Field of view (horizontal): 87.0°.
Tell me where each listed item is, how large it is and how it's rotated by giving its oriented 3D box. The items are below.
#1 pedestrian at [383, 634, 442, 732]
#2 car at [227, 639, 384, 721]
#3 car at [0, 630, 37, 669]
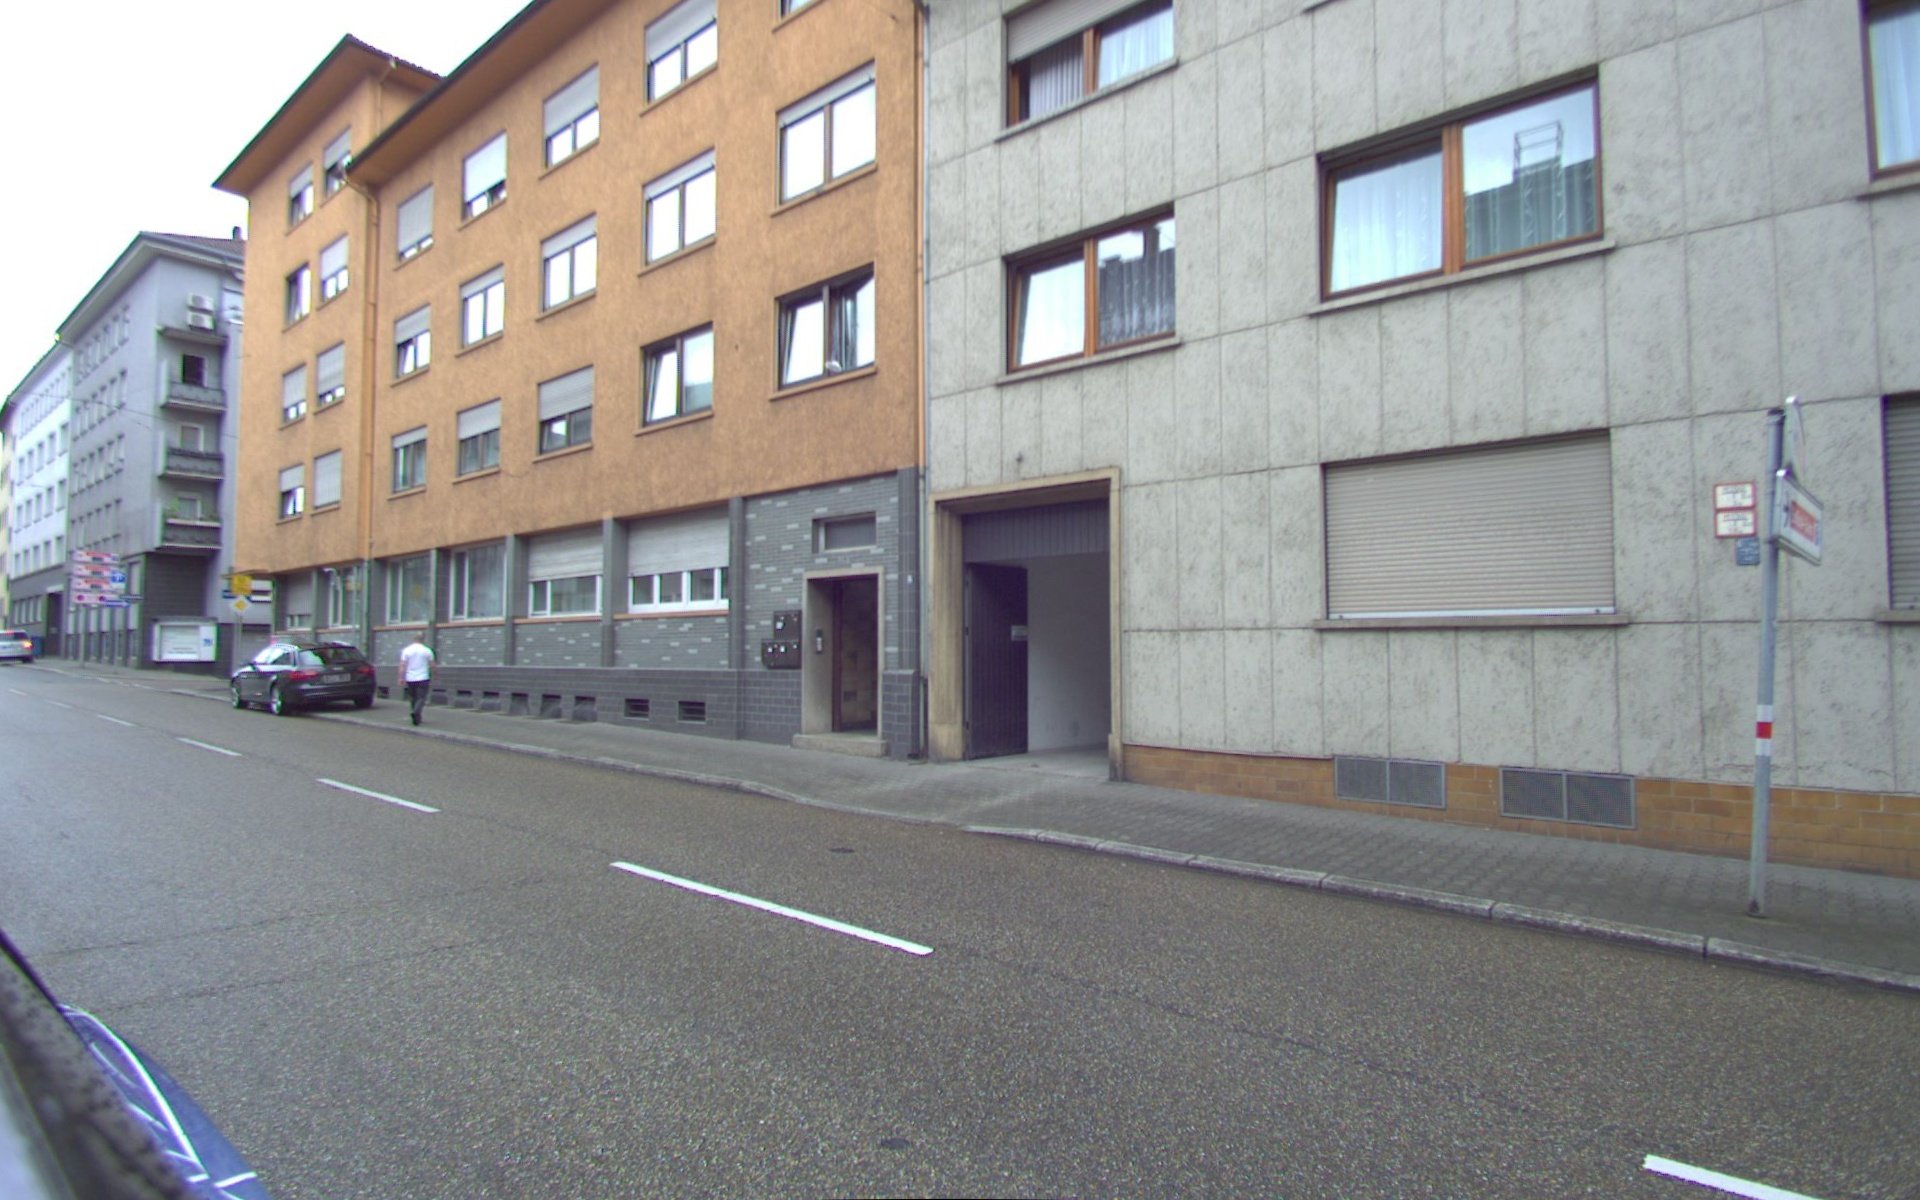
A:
[{"bbox_3d":[-9.776,1.452,18.114,0.755,1.652,1.026,-1,0,-19],"label":"pedestrian"},{"bbox_3d":[-14.250,1.650,21.935,4.216,1.485,1.776,-1,0,41],"label":"car"},{"bbox_3d":[-46.475,2.380,49.273,4.216,1.735,1.832,-1,0,41],"label":"car"}]
